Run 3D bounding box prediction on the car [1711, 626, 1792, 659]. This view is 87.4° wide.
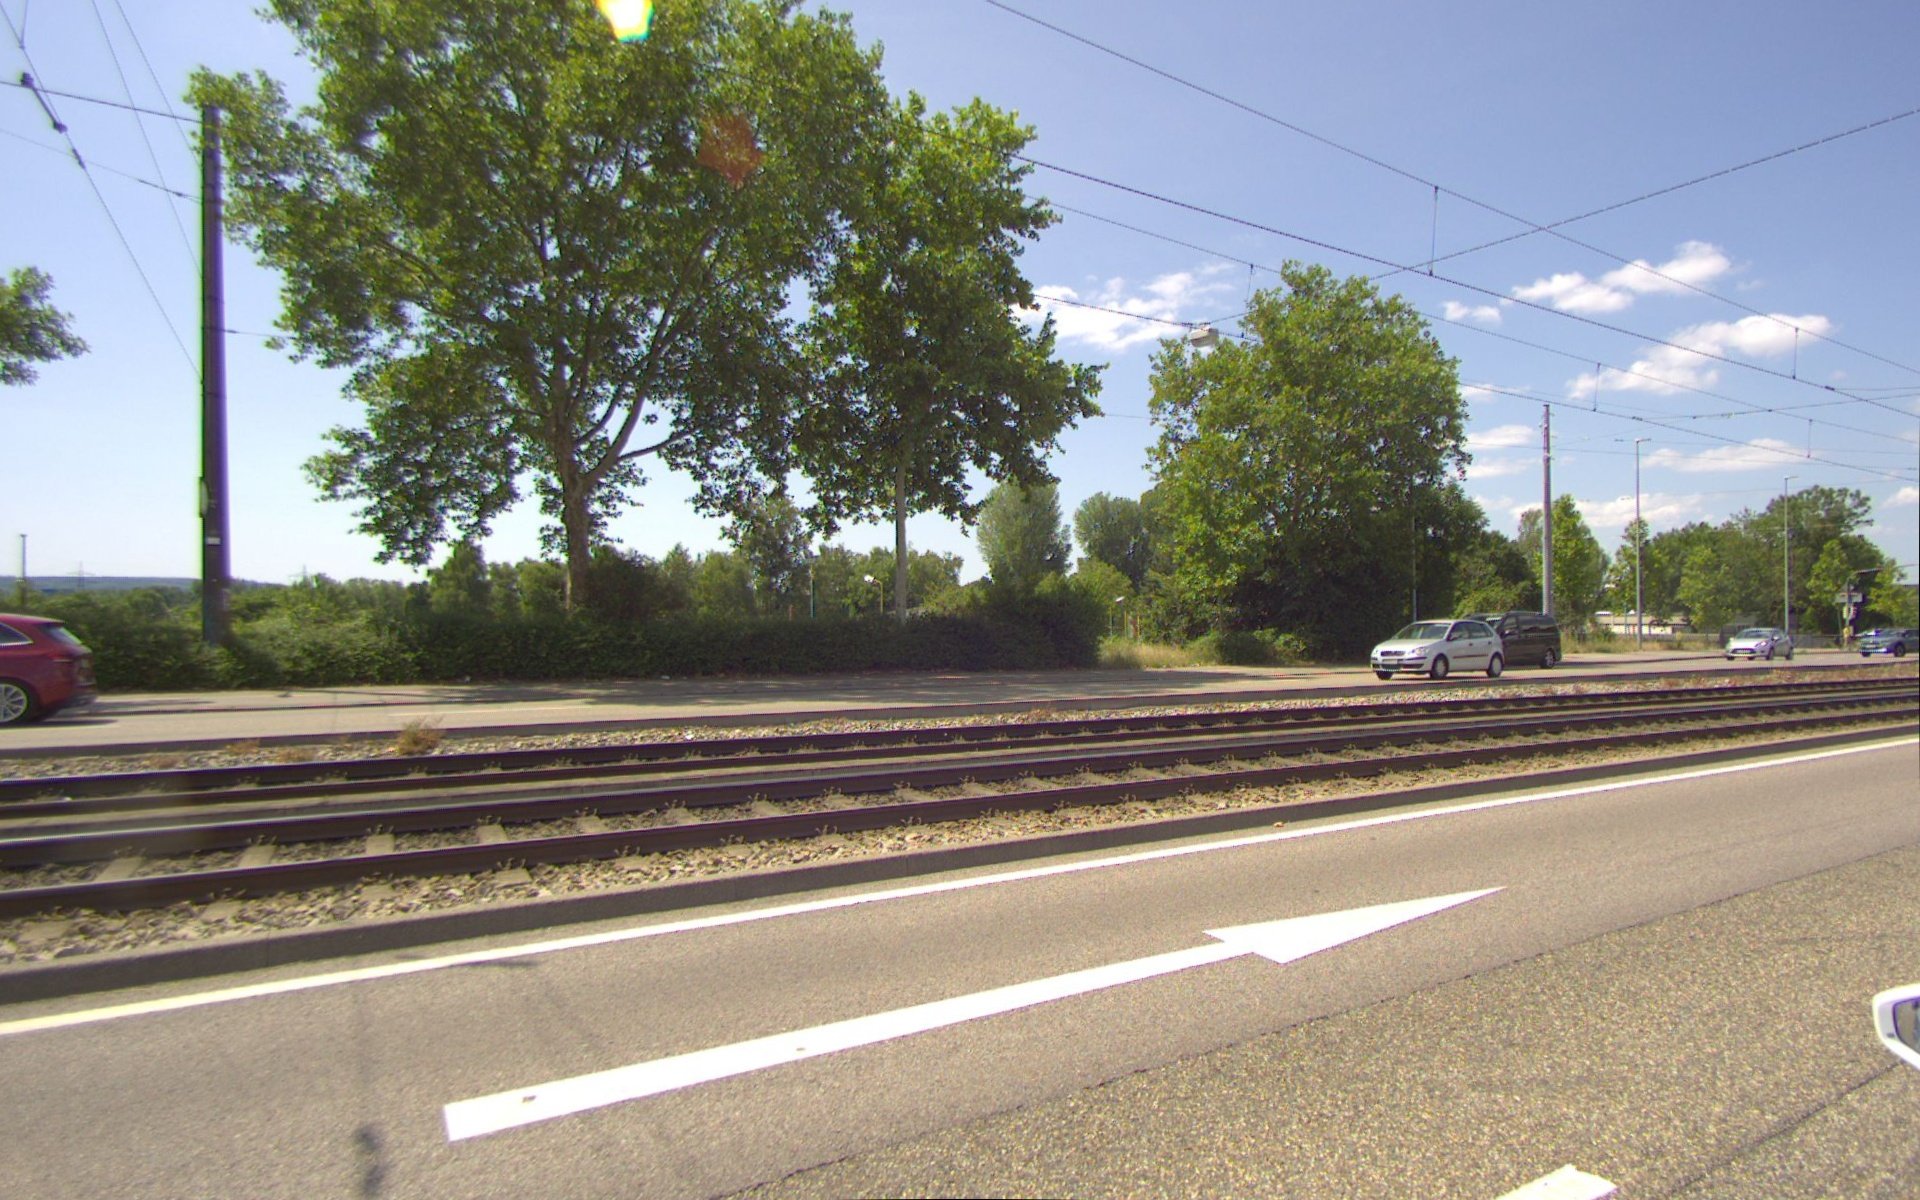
[{"bbox_3d":[36.321,1.942,46.075,3.843,1.434,1.812,1,-3,-34],"label":"car"}]

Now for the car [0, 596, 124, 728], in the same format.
[{"bbox_3d":[-13.929,0.817,13.066,4.418,1.692,1.983,1,-2,-32],"label":"car"}]

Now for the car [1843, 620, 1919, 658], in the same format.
[{"bbox_3d":[51.356,2.162,55.169,4.332,1.944,1.996,1,1,-11],"label":"car"}]

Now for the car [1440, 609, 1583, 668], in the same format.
[{"bbox_3d":[18.342,1.264,33.361,4.913,1.854,1.983,1,-3,-32],"label":"car"}]

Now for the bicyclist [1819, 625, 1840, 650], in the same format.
[{"bbox_3d":[64.879,2.769,74.983,0.337,1.798,1.112,1,0,-34],"label":"bicyclist"}]

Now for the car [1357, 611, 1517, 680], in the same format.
[{"bbox_3d":[11.932,1.114,25.060,4.013,1.604,1.677,1,-3,-32],"label":"car"}]

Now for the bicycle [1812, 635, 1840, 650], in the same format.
[{"bbox_3d":[64.778,3.163,75.134,0.480,1.000,1.482,1,0,-33],"label":"bicycle"}]
